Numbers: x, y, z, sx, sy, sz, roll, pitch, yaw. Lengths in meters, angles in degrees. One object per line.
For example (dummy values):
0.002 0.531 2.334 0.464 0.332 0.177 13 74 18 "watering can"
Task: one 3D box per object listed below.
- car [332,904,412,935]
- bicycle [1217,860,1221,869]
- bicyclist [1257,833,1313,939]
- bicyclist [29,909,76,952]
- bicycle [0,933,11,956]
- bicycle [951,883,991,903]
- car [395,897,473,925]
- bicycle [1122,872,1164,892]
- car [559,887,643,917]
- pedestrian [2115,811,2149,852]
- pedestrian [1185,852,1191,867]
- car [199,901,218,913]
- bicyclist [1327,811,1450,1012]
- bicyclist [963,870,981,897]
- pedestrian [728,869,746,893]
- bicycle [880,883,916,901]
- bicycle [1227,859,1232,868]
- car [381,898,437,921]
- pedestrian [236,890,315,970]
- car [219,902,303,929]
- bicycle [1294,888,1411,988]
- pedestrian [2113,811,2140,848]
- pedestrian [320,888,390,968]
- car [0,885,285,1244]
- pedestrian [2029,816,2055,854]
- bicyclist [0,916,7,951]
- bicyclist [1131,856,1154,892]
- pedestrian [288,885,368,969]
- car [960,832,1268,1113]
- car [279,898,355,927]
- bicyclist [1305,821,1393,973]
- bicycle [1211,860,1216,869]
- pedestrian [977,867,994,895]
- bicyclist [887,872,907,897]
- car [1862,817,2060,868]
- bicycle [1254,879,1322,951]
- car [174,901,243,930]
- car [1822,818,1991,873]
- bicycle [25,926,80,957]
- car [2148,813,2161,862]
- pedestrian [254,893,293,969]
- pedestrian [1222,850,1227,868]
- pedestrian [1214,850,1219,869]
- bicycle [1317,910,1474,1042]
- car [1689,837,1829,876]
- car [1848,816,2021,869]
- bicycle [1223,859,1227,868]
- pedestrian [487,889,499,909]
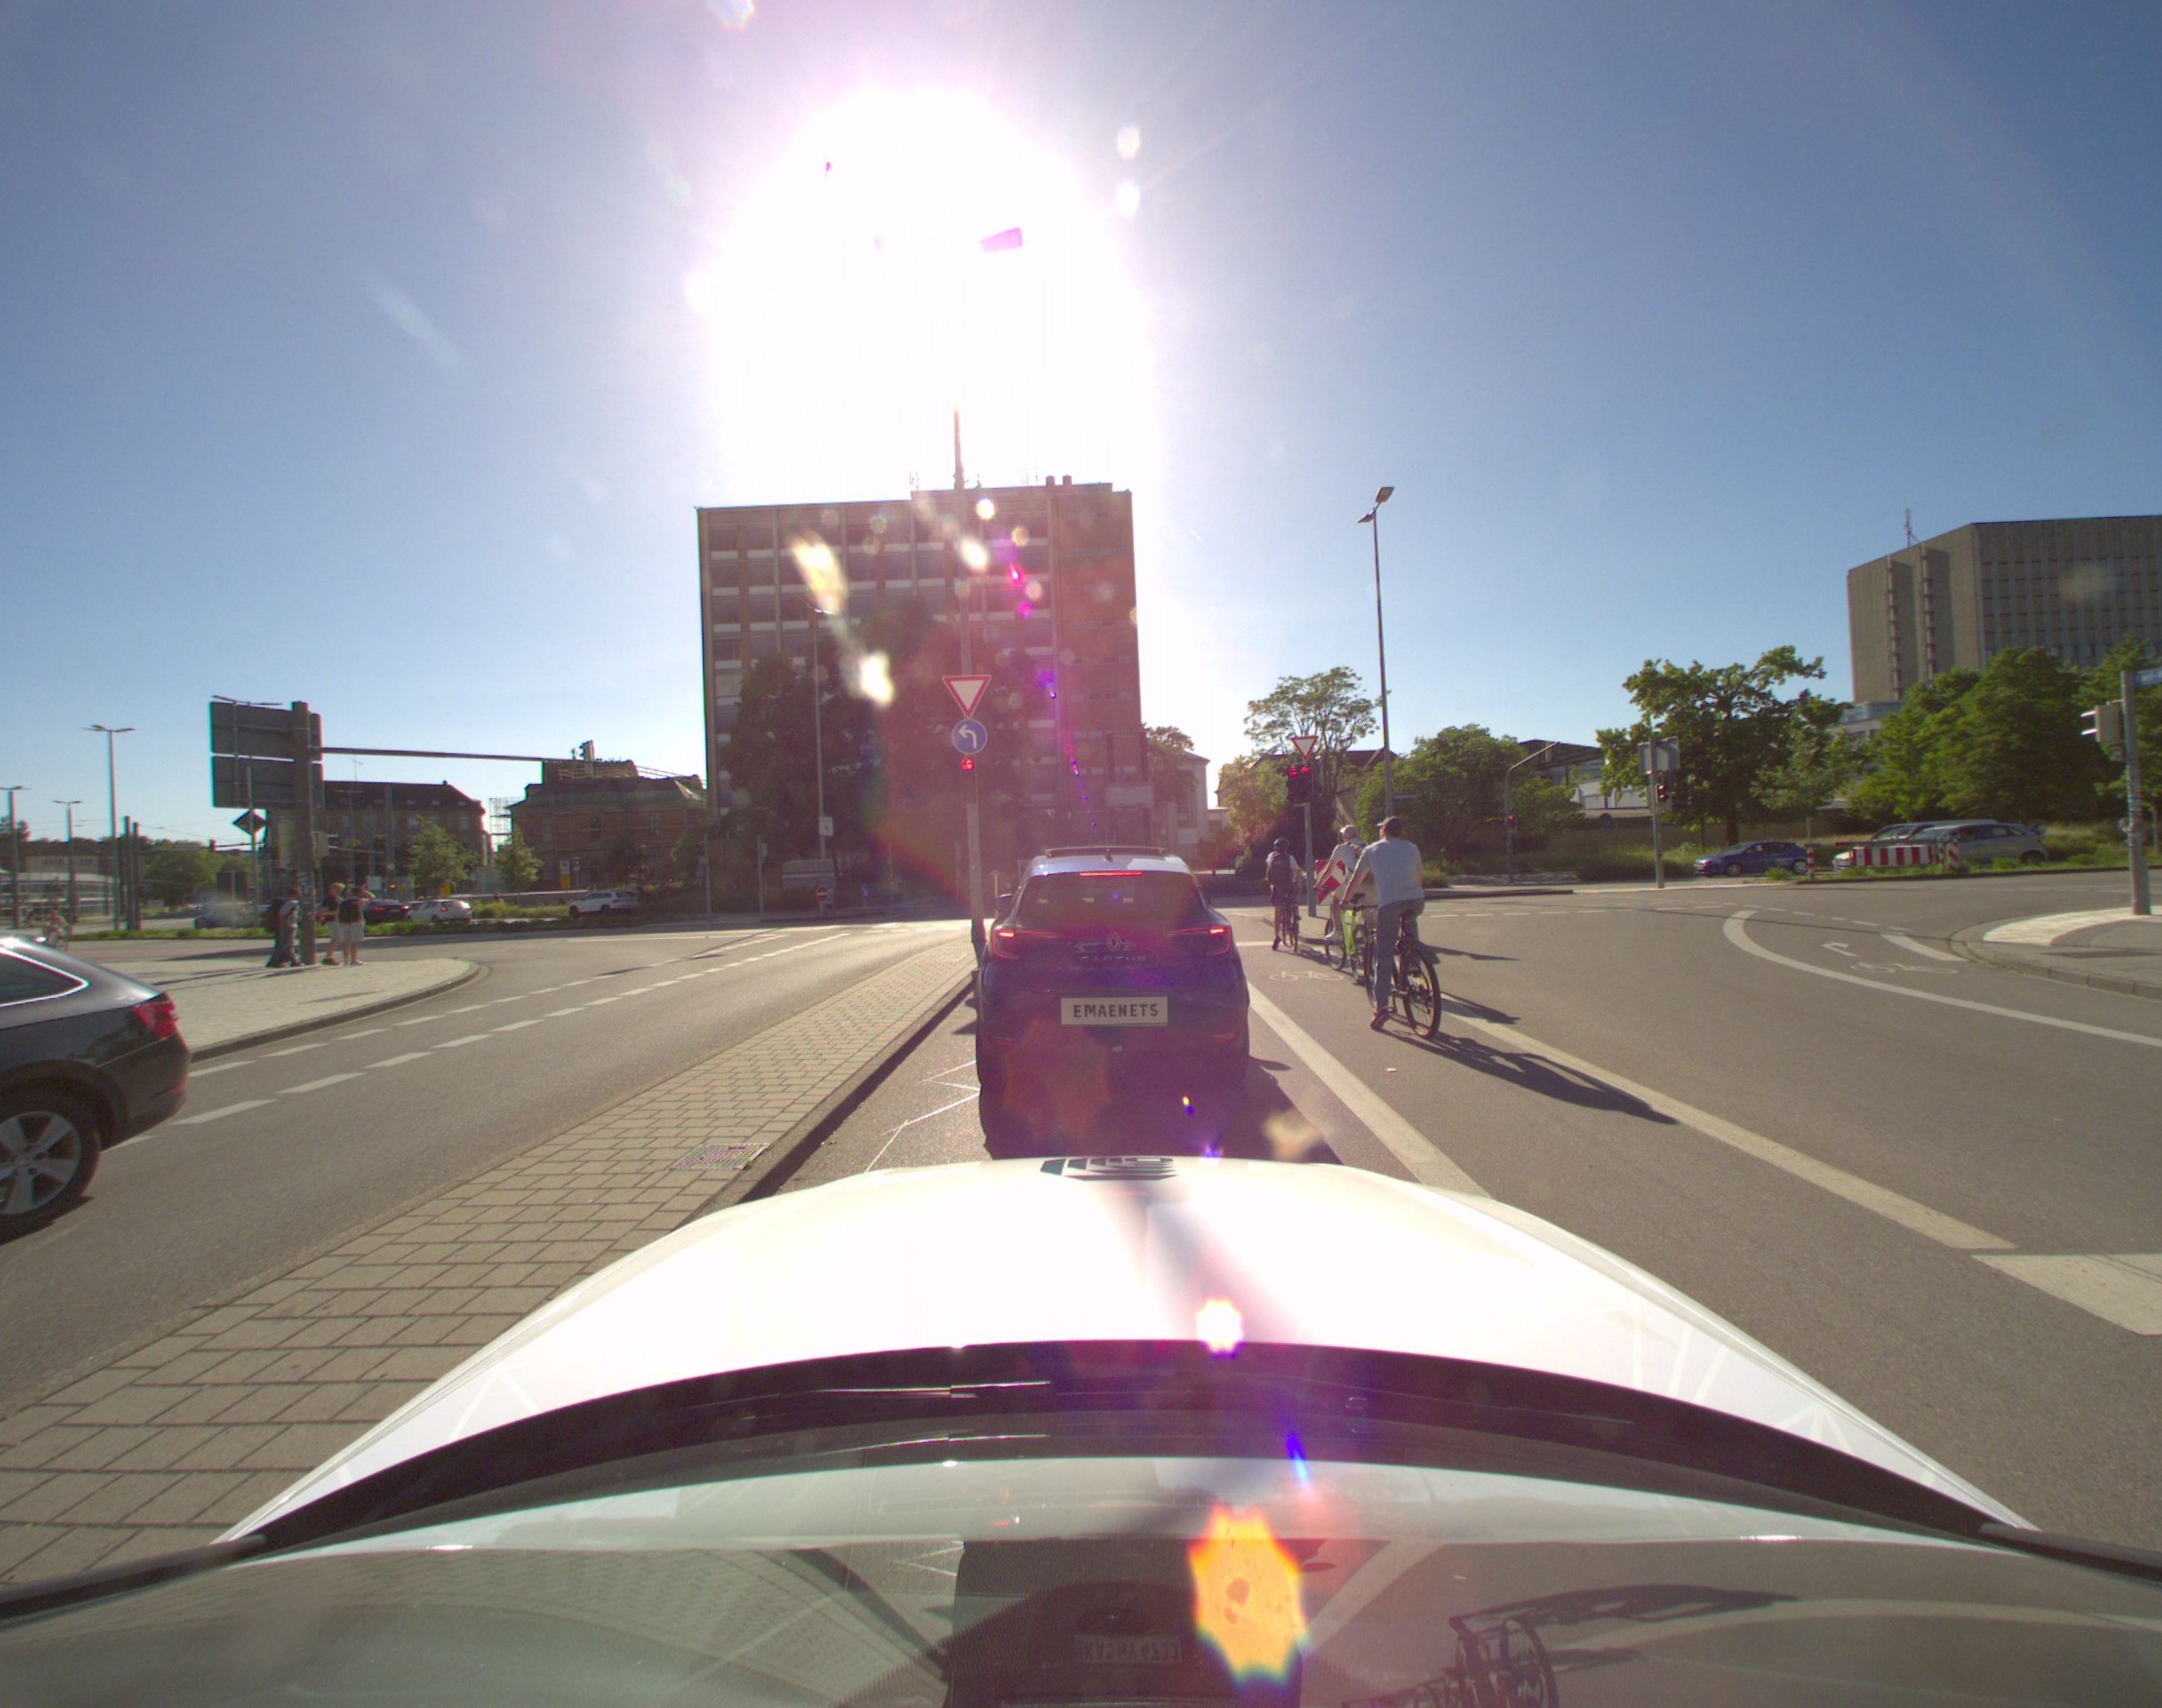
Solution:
-42.563 3.922 48.900 4.334 1.632 1.854 -3 -1 23 "car"
15.875 1.228 93.827 0.403 0.973 1.686 0 -1 6 "bicycle"
3.239 0.501 12.992 0.722 1.629 0.970 0 -1 6 "bicyclist"
-38.506 2.859 30.492 1.059 1.500 0.745 -5 -1 21 "bicyclist"
-45.613 3.820 33.952 1.966 0.918 0.691 -5 -1 23 "bicycle"
-5.927 2.114 44.031 2.016 0.964 0.593 -2 -1 -25 "bicycle"
-36.367 3.193 45.769 3.802 1.435 1.752 -2 -1 22 "car"
3.331 1.510 43.697 2.067 0.930 0.698 -3 1 13 "bicycle"
-29.010 2.900 49.200 4.780 1.632 1.854 -2 -1 24 "car"
49.531 -1.052 38.388 0.559 1.848 0.714 -2 -1 5 "pedestrian"
13.000 0.641 99.351 0.620 1.856 0.564 -2 -1 5 "pedestrian"
-156.172 9.456 145.767 3.948 2.013 2.013 -3 -1 38 "car"
2.713 0.482 7.300 0.748 1.668 1.017 0 -1 3 "bicyclist"
-5.889 1.598 44.059 0.741 1.441 0.593 -2 -1 -25 "bicyclist"
-23.177 1.822 54.925 0.852 1.571 0.562 -6 -1 25 "pedestrian"
-11.000 2.292 49.007 2.060 0.964 0.601 -3 -1 16 "bicycle"
17.187 1.077 94.178 0.403 0.973 1.686 0 -1 6 "bicycle"
-48.115 3.976 58.323 3.800 1.435 1.754 -3 0 28 "car"
-18.104 1.696 18.333 0.900 1.690 0.839 -4 -3 -3 "pedestrian"
-49.014 3.680 48.666 4.841 1.388 1.854 -3 -1 23 "car"
3.215 0.955 9.857 0.657 1.003 1.967 0 -1 -4 "bicycle"
51.402 -1.187 40.029 0.559 1.778 0.528 -2 -1 5 "pedestrian"
-16.246 1.633 18.239 0.788 1.690 0.790 -5 -3 4 "pedestrian"
-5.449 0.977 2.420 1.812 1.505 4.771 -4 0 -8 "car"
46.915 -0.923 39.766 0.559 1.778 0.528 -2 -1 5 "pedestrian"
-45.645 3.369 33.967 1.114 1.422 0.691 -5 -1 21 "bicyclist"
3.306 1.064 43.868 1.094 1.867 0.655 -3 -1 12 "bicyclist"
-17.052 1.627 18.468 0.700 1.800 1.104 -5 -3 3 "pedestrian"
0.204 0.708 6.808 1.798 1.632 3.999 -1 0 0 "car"
-48.459 3.686 51.653 4.334 1.632 1.854 -3 -1 23 "car"
3.215 0.494 9.855 0.644 1.739 1.065 0 -1 -4 "bicyclist"
15.257 1.233 93.886 0.403 0.973 1.686 0 -1 6 "bicycle"
-5.660 1.603 48.347 0.732 1.603 0.601 -3 -1 14 "pedestrian"
-11.060 1.836 49.025 0.929 1.429 0.601 -3 -1 16 "bicyclist"
28.140 -0.359 26.172 4.025 1.408 1.872 -2 -1 8 "car"
3.248 0.928 12.939 0.735 0.995 2.177 0 -1 6 "bicycle"
-55.161 3.909 51.476 4.331 1.632 1.855 -3 -1 27 "car"
30.822 -0.290 30.540 3.962 1.815 2.006 -3 -1 10 "car"
-38.481 3.281 30.477 1.966 0.995 0.745 -5 -1 23 "bicycle"
36.986 -0.623 25.354 4.713 1.584 2.002 -2 -1 3 "car"
-19.207 1.809 19.376 0.600 1.729 0.572 -2 -1 -45 "pedestrian"
16.213 0.606 92.188 0.473 2.014 0.469 -2 -1 8 "pedestrian"
15.101 0.604 90.862 0.473 2.014 0.524 -2 -1 8 "pedestrian"
2.721 1.014 7.301 0.737 0.896 1.980 0 -1 3 "bicycle"
28.217 0.102 34.013 4.140 1.435 1.747 -2 -1 8 "car"
35.252 -0.440 33.766 4.856 2.107 2.002 0 -1 4 "car"
16.653 1.081 94.178 0.403 0.973 1.686 0 -1 6 "bicycle"
-47.869 3.651 66.256 0.541 1.615 0.653 -3 -1 41 "pedestrian"
